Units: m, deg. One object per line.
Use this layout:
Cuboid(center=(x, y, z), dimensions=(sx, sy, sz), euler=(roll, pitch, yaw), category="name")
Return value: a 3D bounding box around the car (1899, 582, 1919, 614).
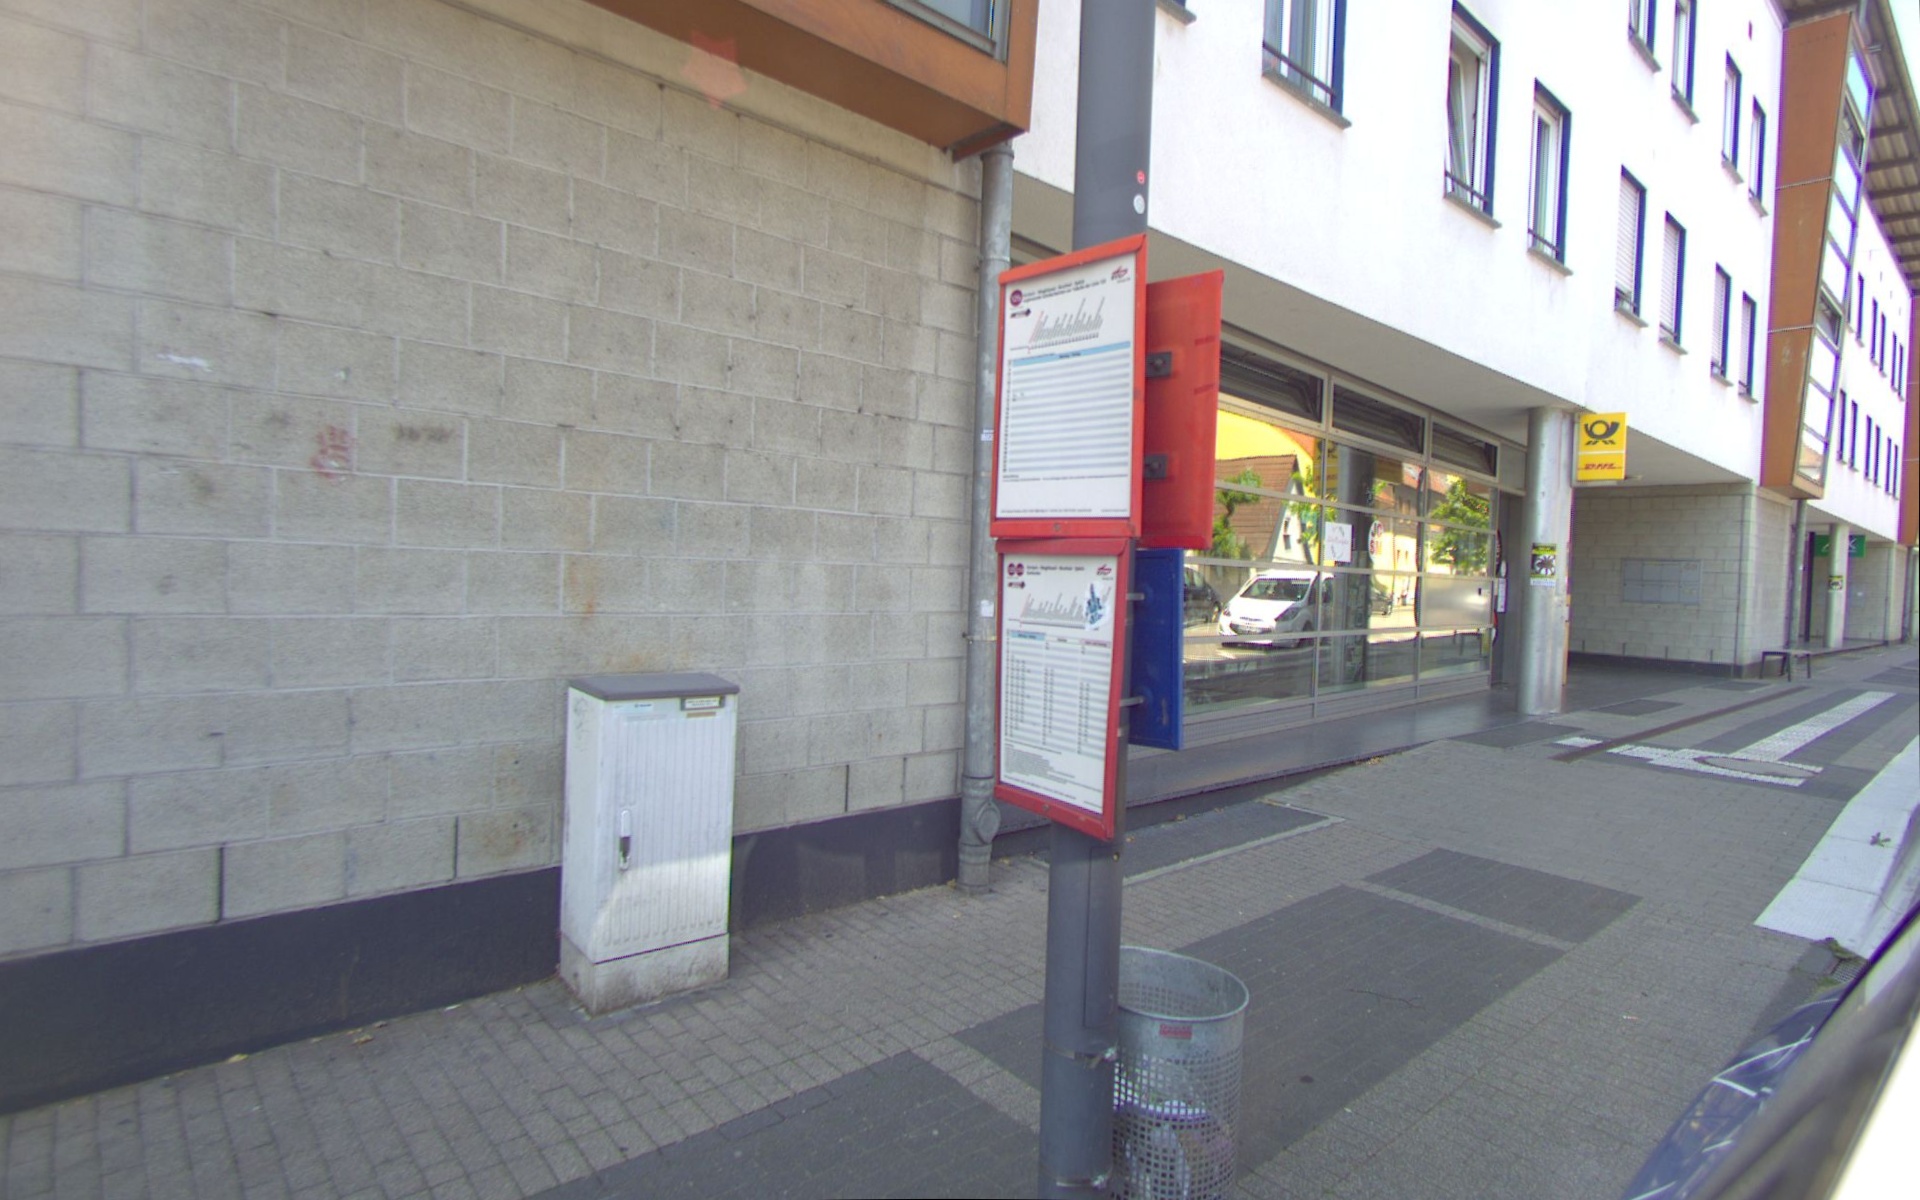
Cuboid(center=(58.917, -0.022, 60.216), dimensions=(1.966, 1.882, 4.201), euler=(0, 3, -42), category="car")
